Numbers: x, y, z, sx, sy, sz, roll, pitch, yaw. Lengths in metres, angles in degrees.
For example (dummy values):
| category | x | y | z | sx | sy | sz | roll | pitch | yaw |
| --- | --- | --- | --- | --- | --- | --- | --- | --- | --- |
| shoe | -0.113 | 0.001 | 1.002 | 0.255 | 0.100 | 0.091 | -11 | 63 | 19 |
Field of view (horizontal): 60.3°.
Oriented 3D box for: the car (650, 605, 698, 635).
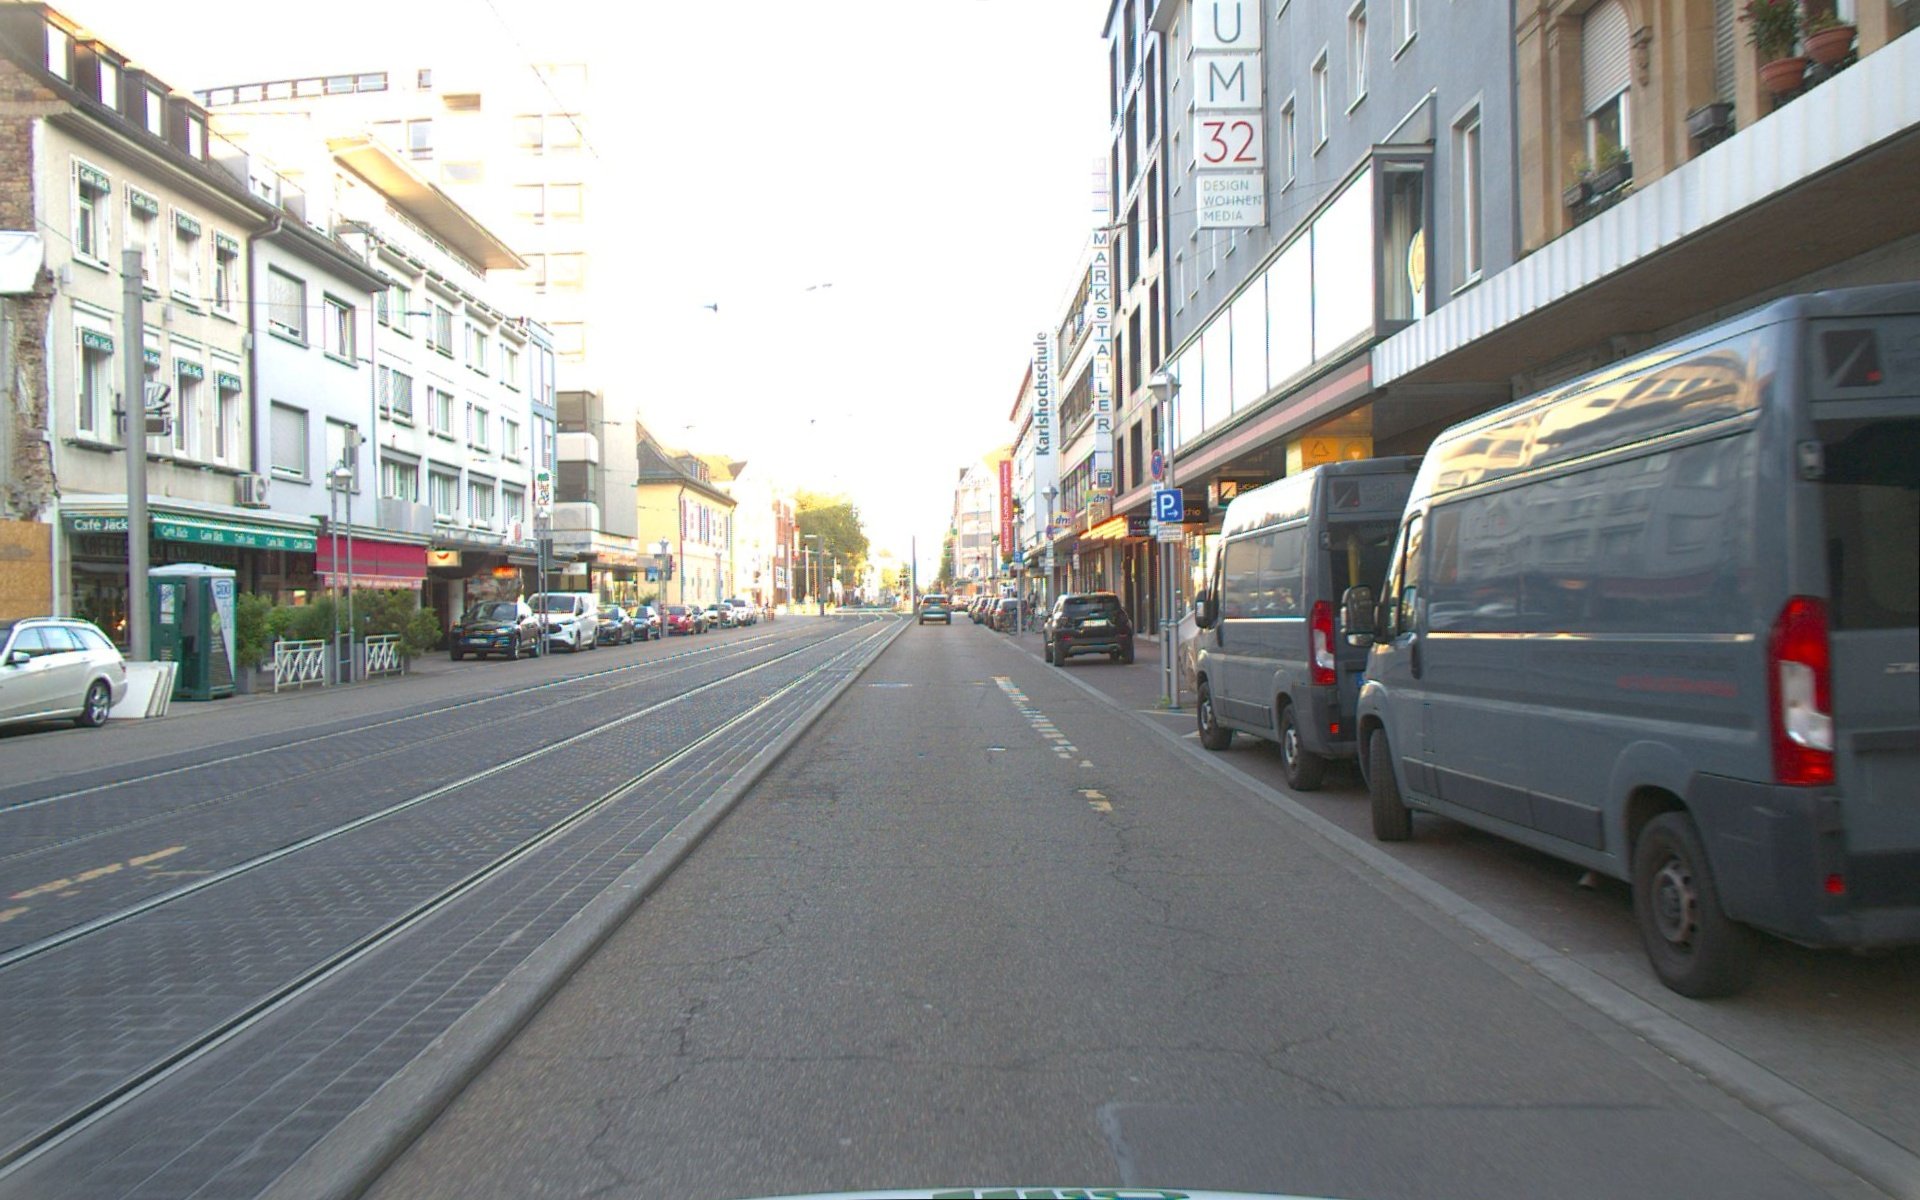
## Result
| category | x | y | z | sx | sy | sz | roll | pitch | yaw |
| --- | --- | --- | --- | --- | --- | --- | --- | --- | --- |
| car | -13.827 | 0.968 | 80.142 | 1.754 | 1.362 | 3.890 | 1 | 0 | -2 |

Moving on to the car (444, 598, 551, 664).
| category | x | y | z | sx | sy | sz | roll | pitch | yaw |
| --- | --- | --- | --- | --- | --- | --- | --- | --- | --- |
| car | -13.435 | 0.865 | 48.320 | 1.878 | 1.794 | 4.429 | 1 | 0 | -1 |

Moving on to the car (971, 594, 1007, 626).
| category | x | y | z | sx | sy | sz | roll | pitch | yaw |
| --- | --- | --- | --- | --- | --- | --- | --- | --- | --- |
| car | 1.673 | 0.558 | 97.034 | 1.904 | 1.733 | 4.544 | -3 | 0 | 0 |

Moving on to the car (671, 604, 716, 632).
| category | x | y | z | sx | sy | sz | roll | pitch | yaw |
| --- | --- | --- | --- | --- | --- | --- | --- | --- | --- |
| car | -13.737 | 0.902 | 85.537 | 1.754 | 1.362 | 3.890 | 1 | 0 | -2 |

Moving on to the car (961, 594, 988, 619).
| category | x | y | z | sx | sy | sz | roll | pitch | yaw |
| --- | --- | --- | --- | --- | --- | --- | --- | --- | --- |
| car | 1.048 | 0.450 | 123.669 | 1.904 | 1.733 | 4.544 | -3 | 0 | 0 |

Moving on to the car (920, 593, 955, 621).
| category | x | y | z | sx | sy | sz | roll | pitch | yaw |
| --- | --- | --- | --- | --- | --- | --- | --- | --- | --- |
| car | -1.280 | 0.411 | 95.970 | 1.904 | 1.572 | 4.544 | -1 | 0 | 0 |

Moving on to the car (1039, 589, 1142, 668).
| category | x | y | z | sx | sy | sz | roll | pitch | yaw |
| --- | --- | --- | --- | --- | --- | --- | --- | --- | --- |
| car | 2.887 | 0.607 | 37.509 | 1.904 | 1.571 | 4.544 | -3 | 0 | 0 |

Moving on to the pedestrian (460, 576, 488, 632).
| category | x | y | z | sx | sy | sz | roll | pitch | yaw |
| --- | --- | --- | --- | --- | --- | --- | --- | --- | --- |
| pedestrian | -16.111 | 0.133 | 54.817 | 0.635 | 1.852 | 0.837 | 1 | 0 | -1 |

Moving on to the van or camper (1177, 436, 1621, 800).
| category | x | y | z | sx | sy | sz | roll | pitch | yaw |
| --- | --- | --- | --- | --- | --- | --- | --- | --- | --- |
| van or camper | 3.505 | 0.127 | 14.579 | 2.145 | 2.468 | 5.515 | -3 | 0 | -2 |

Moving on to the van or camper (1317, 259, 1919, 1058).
| category | x | y | z | sx | sy | sz | roll | pitch | yaw |
| --- | --- | --- | --- | --- | --- | --- | --- | --- | --- |
| van or camper | 3.632 | 0.128 | 8.252 | 2.144 | 2.468 | 6.131 | -3 | 0 | -1 |

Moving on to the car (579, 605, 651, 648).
| category | x | y | z | sx | sy | sz | roll | pitch | yaw |
| --- | --- | --- | --- | --- | --- | --- | --- | --- | --- |
| car | -13.302 | 0.984 | 63.970 | 1.878 | 1.547 | 4.628 | 1 | 0 | -2 |

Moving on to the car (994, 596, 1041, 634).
| category | x | y | z | sx | sy | sz | roll | pitch | yaw |
| --- | --- | --- | --- | --- | --- | --- | --- | --- | --- |
| car | 2.586 | 0.660 | 75.467 | 1.904 | 1.571 | 4.544 | -3 | 0 | 0 |

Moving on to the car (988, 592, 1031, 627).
| category | x | y | z | sx | sy | sz | roll | pitch | yaw |
| --- | --- | --- | --- | --- | --- | --- | --- | --- | --- |
| car | 2.421 | 0.466 | 81.764 | 1.904 | 1.571 | 4.544 | -3 | 0 | 0 |

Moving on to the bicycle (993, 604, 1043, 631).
| category | x | y | z | sx | sy | sz | roll | pitch | yaw |
| --- | --- | --- | --- | --- | --- | --- | --- | --- | --- |
| bicycle | 2.522 | 0.742 | 71.832 | 2.076 | 1.109 | 0.591 | -1 | 0 | -4 |

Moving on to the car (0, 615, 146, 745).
| category | x | y | z | sx | sy | sz | roll | pitch | yaw |
| --- | --- | --- | --- | --- | --- | --- | --- | --- | --- |
| car | -12.771 | 1.006 | 21.677 | 1.812 | 1.531 | 4.841 | 1 | 0 | -1 |

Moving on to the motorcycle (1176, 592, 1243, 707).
| category | x | y | z | sx | sy | sz | roll | pitch | yaw |
| --- | --- | --- | --- | --- | --- | --- | --- | --- | --- |
| motorcycle | 3.353 | 0.636 | 22.357 | 0.795 | 1.441 | 2.006 | -3 | 0 | 7 |

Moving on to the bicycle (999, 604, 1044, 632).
| category | x | y | z | sx | sy | sz | roll | pitch | yaw |
| --- | --- | --- | --- | --- | --- | --- | --- | --- | --- |
| bicycle | 2.530 | 0.741 | 68.080 | 1.831 | 1.109 | 0.545 | -1 | 0 | -2 |

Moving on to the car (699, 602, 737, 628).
| category | x | y | z | sx | sy | sz | roll | pitch | yaw |
| --- | --- | --- | --- | --- | --- | --- | --- | --- | --- |
| car | -14.449 | 0.900 | 98.778 | 1.754 | 1.475 | 3.890 | 1 | 0 | -2 |

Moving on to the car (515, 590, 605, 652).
| category | x | y | z | sx | sy | sz | roll | pitch | yaw |
| --- | --- | --- | --- | --- | --- | --- | --- | --- | --- |
| car | -13.507 | 0.681 | 56.146 | 1.878 | 1.969 | 4.841 | 1 | 0 | -1 |

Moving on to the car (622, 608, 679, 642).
| category | x | y | z | sx | sy | sz | roll | pitch | yaw |
| --- | --- | --- | --- | --- | --- | --- | --- | --- | --- |
| car | -13.106 | 1.031 | 70.269 | 1.754 | 1.362 | 3.890 | 1 | 0 | -2 |

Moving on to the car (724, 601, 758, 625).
| category | x | y | z | sx | sy | sz | roll | pitch | yaw |
| --- | --- | --- | --- | --- | --- | --- | --- | --- | --- |
| car | -13.863 | 0.795 | 104.851 | 1.754 | 1.475 | 3.890 | 1 | 0 | -2 |

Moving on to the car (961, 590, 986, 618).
| category | x | y | z | sx | sy | sz | roll | pitch | yaw |
| --- | --- | --- | --- | --- | --- | --- | --- | --- | --- |
| car | 1.075 | 0.314 | 135.519 | 1.904 | 2.183 | 4.544 | -3 | 0 | 0 |
